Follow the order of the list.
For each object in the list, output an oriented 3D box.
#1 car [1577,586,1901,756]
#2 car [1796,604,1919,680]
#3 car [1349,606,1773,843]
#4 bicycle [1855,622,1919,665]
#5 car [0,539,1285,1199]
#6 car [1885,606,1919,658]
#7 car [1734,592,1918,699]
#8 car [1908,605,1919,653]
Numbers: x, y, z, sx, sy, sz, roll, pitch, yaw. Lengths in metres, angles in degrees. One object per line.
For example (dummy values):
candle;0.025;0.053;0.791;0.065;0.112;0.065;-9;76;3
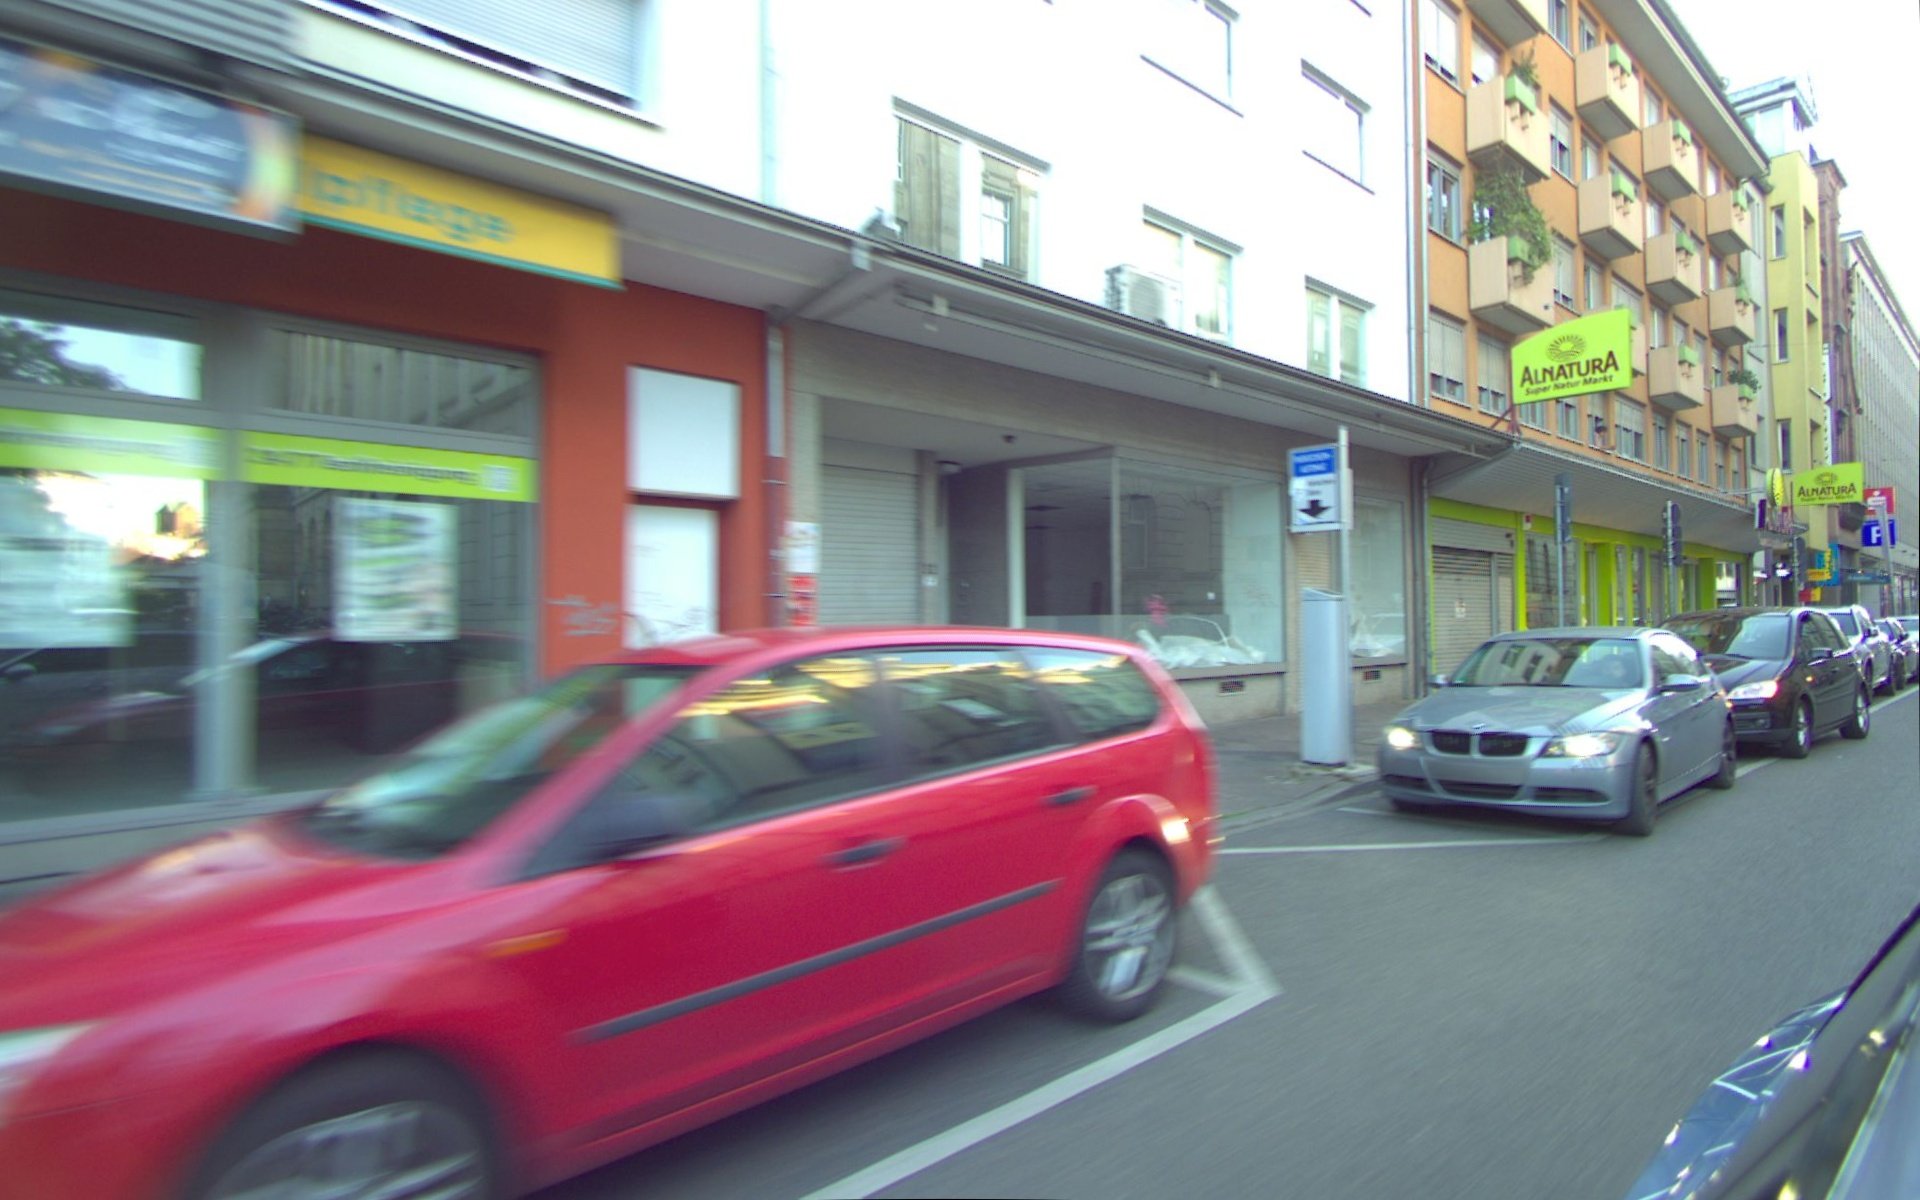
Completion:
car;9.179;0.746;11.811;4.402;1.631;1.798;1;-3;-37
car;19.340;0.864;21.422;4.672;1.433;1.694;1;-4;-41
car;5.162;0.829;8.380;4.602;1.434;1.738;1;-4;-43
bicycle;24.244;1.111;26.038;1.708;1.069;0.658;-1;-2;8
car;-0.848;0.729;3.526;4.572;1.532;1.713;1;-4;-43
car;28.714;0.921;29.891;4.561;1.430;1.692;1;-4;-44
car;15.661;0.785;18.215;4.672;1.690;1.754;1;-4;-41
car;32.518;0.924;33.261;4.102;1.536;1.620;1;-4;-42
